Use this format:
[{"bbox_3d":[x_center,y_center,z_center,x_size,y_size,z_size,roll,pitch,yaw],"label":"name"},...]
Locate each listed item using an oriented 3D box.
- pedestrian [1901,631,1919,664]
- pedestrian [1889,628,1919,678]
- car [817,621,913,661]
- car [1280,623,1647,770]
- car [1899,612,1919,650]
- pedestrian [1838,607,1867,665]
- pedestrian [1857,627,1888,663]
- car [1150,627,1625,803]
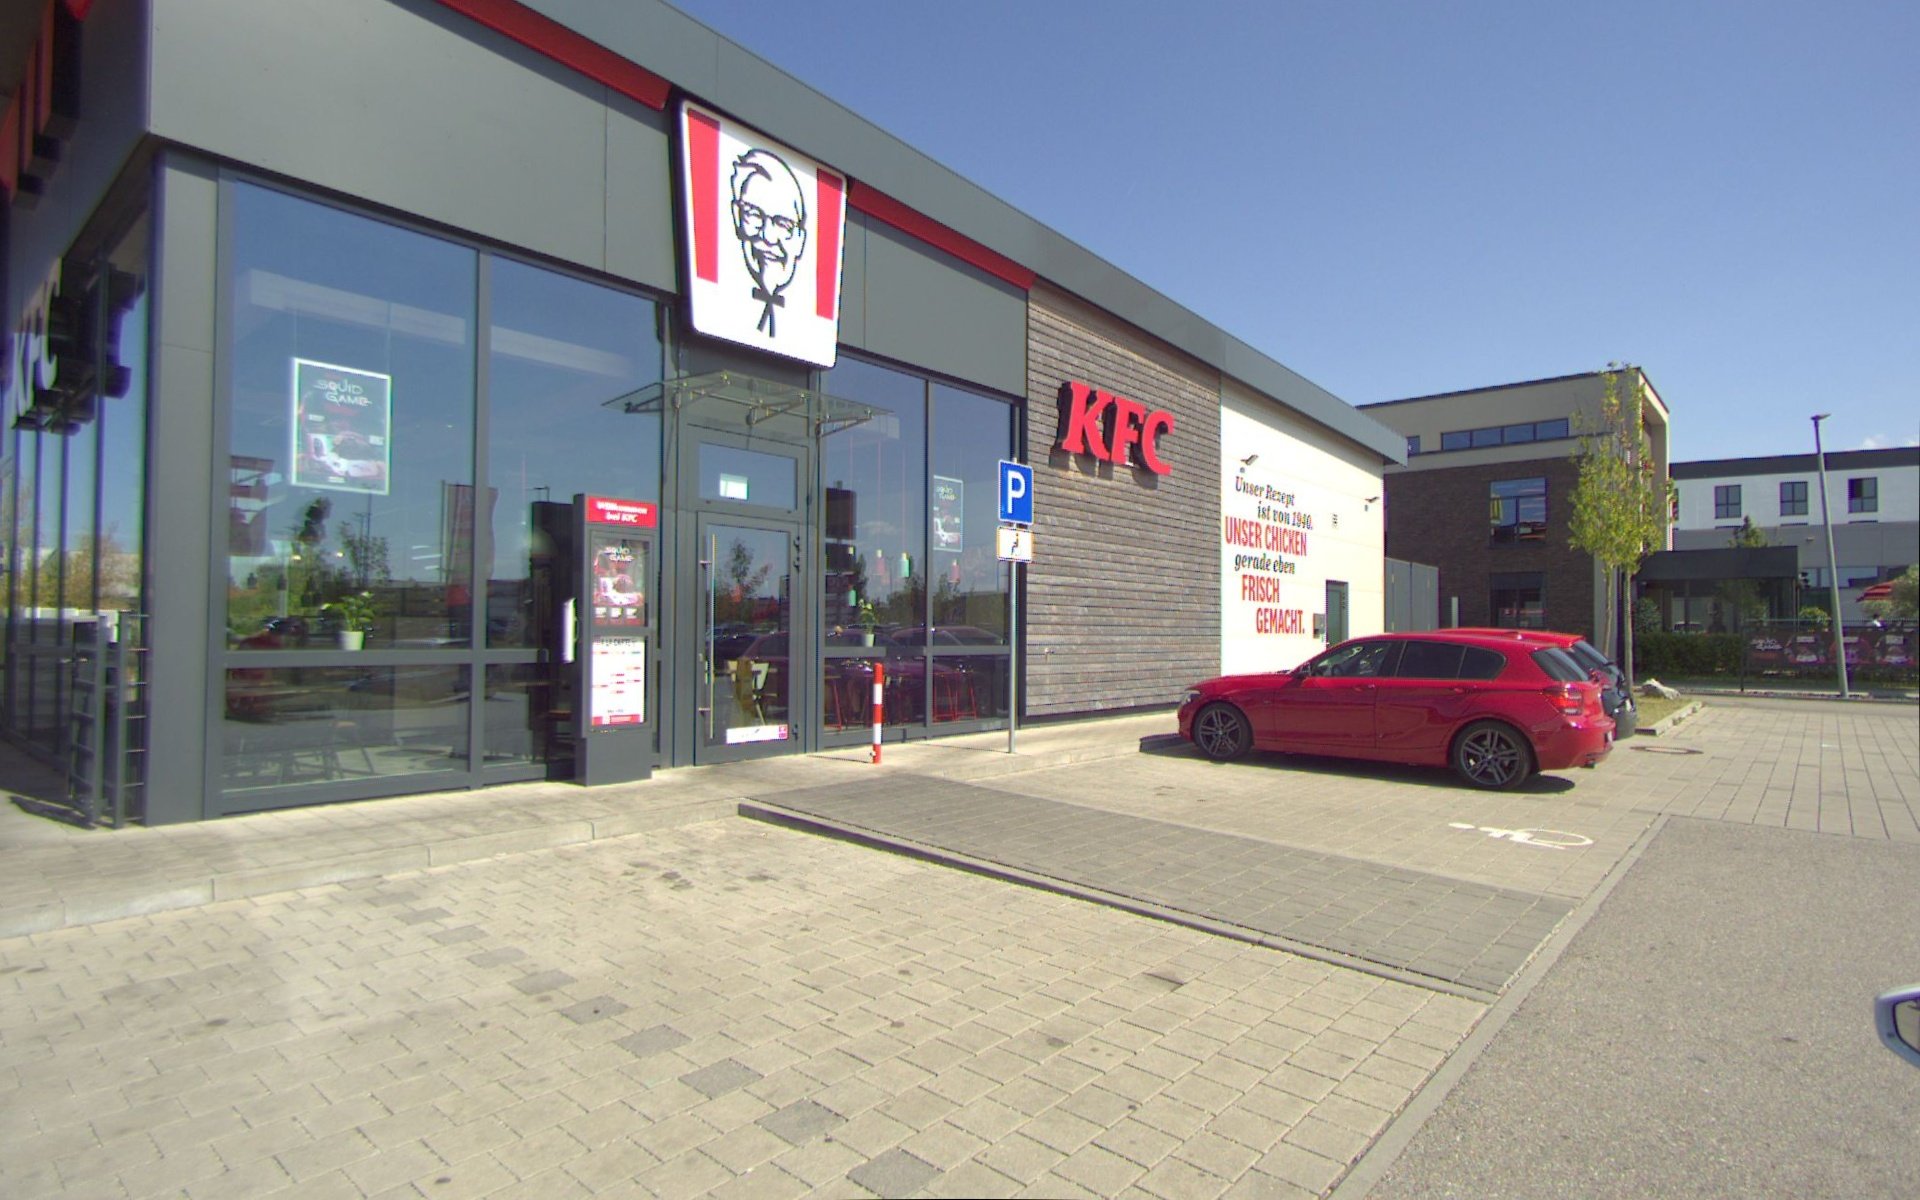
[{"bbox_3d":[32.439,1.595,34.103,0.539,1.104,0.573,0,-1,-33],"label":"pedestrian"},{"bbox_3d":[26.896,1.496,28.472,0.637,1.385,0.482,-1,-1,16],"label":"pedestrian"},{"bbox_3d":[-3.901,1.636,40.968,3.851,1.526,1.732,0,-1,41],"label":"car"},{"bbox_3d":[6.240,1.079,12.662,3.851,1.526,1.732,0,-1,41],"label":"car"},{"bbox_3d":[35.148,1.101,36.380,1.625,1.326,3.818,-2,-2,43],"label":"car"},{"bbox_3d":[23.978,0.956,26.986,0.518,1.525,0.566,-1,-1,38],"label":"pedestrian"},{"bbox_3d":[30.951,1.519,34.056,0.612,1.214,0.702,0,-1,-41],"label":"pedestrian"},{"bbox_3d":[4.356,1.038,10.608,4.334,1.431,1.733,0,-1,39],"label":"car"}]
